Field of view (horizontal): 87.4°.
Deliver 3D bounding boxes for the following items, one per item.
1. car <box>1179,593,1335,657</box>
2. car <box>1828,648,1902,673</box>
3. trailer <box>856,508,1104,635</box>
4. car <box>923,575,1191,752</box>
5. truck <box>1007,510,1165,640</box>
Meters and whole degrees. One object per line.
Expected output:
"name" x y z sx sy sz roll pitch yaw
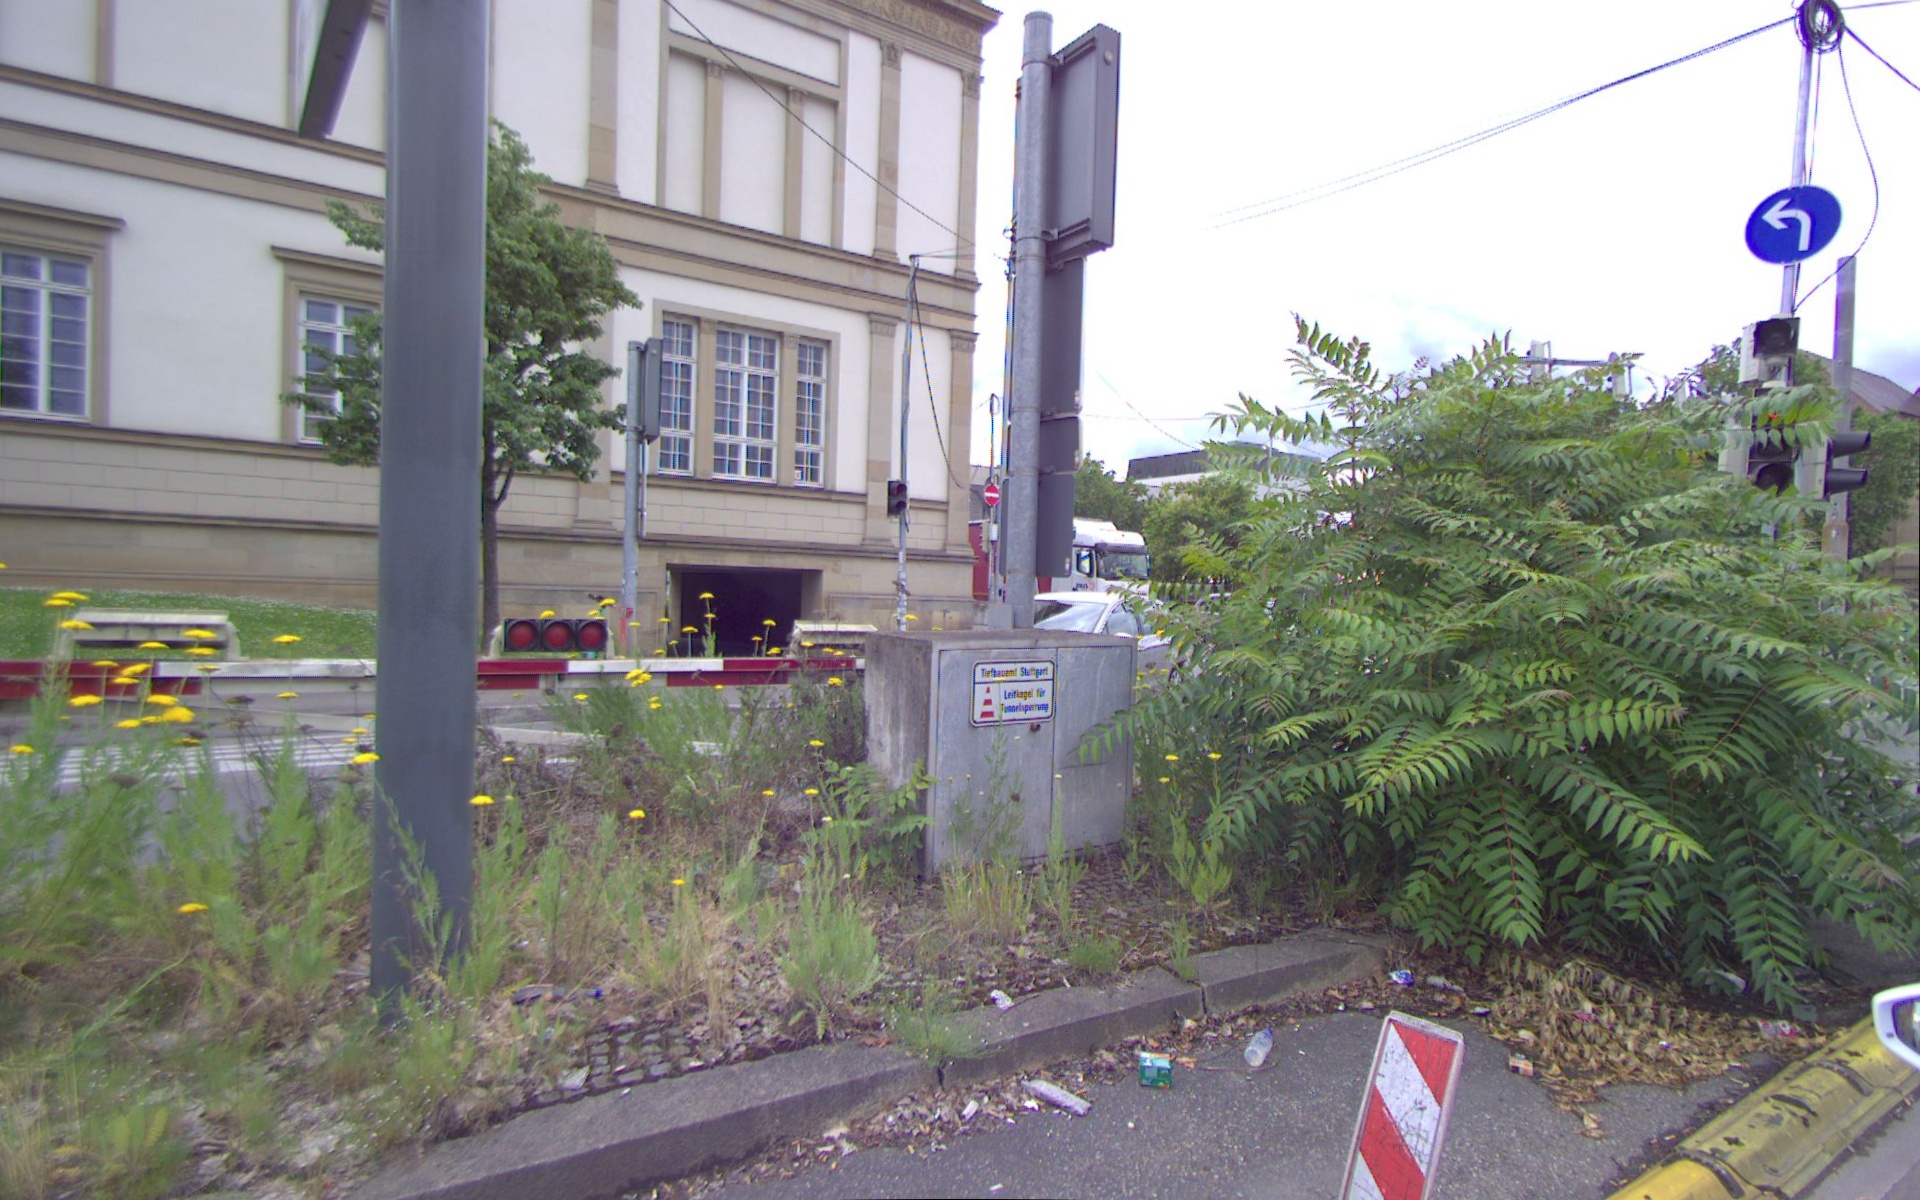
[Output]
"car" 8.272 0.662 28.295 1.810 1.646 4.032 2 0 -31
"car" 55.784 3.714 61.931 3.621 1.417 1.677 2 0 -14
"trailer" 0.214 -1.041 41.119 2.916 4.338 13.662 2 0 -33
"car" 1.368 0.667 12.337 1.805 1.769 3.993 2 0 29
"truck" 4.256 -0.796 34.794 2.915 4.118 4.846 2 0 -34
